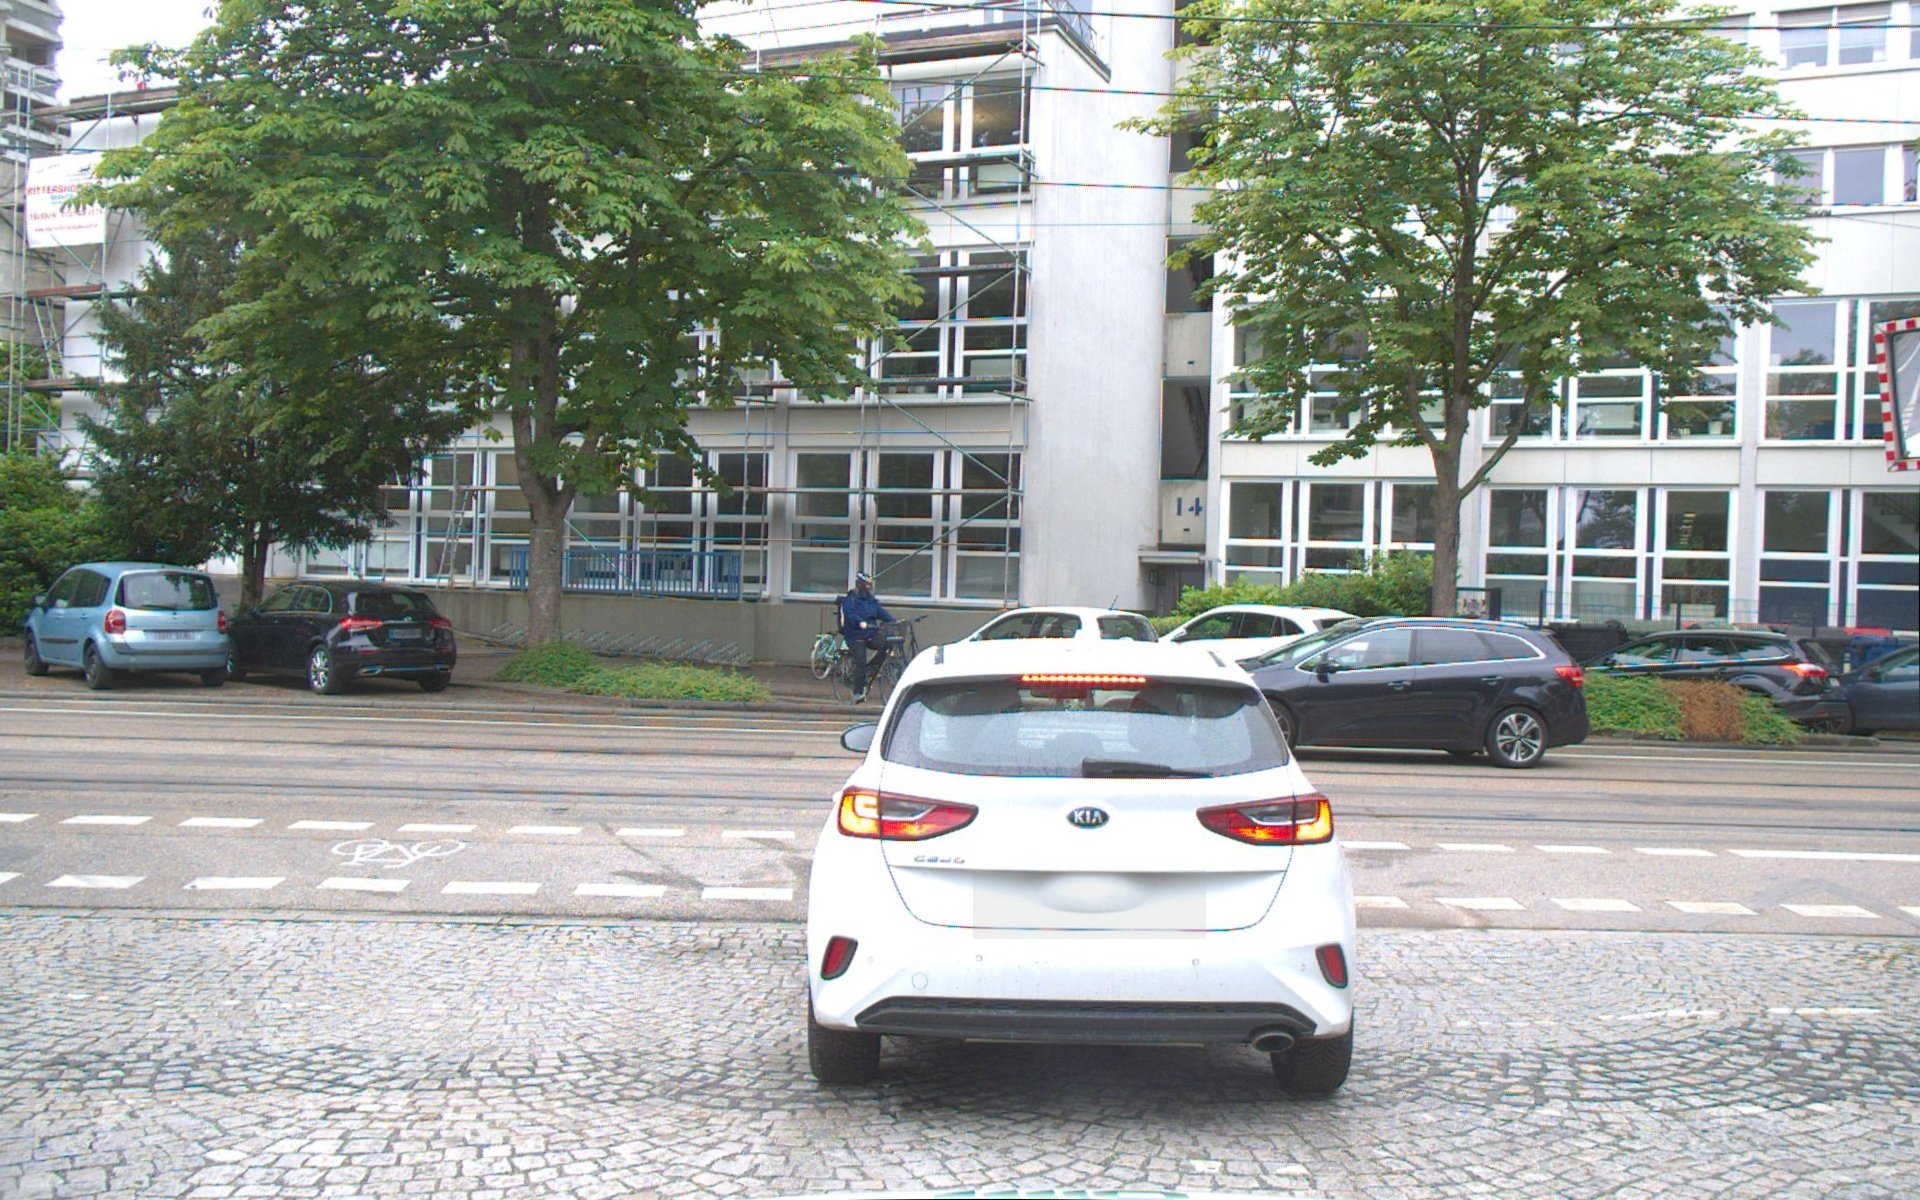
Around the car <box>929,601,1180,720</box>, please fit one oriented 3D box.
[{"bbox_3d":[1.276,0.792,23.195,1.545,1.499,3.352,1,0,-44],"label":"car"}]

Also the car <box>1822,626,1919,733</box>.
[{"bbox_3d":[14.404,1.158,23.764,3.332,1.499,1.407,1,0,43],"label":"car"}]

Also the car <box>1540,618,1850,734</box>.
[{"bbox_3d":[10.763,1.060,24.349,3.881,1.499,1.665,1,0,40],"label":"car"}]

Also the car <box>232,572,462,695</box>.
[{"bbox_3d":[-8.324,0.412,22.356,3.279,1.537,1.608,1,0,43],"label":"car"}]

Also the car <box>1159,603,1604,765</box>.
[{"bbox_3d":[4.331,0.846,17.382,4.157,1.516,1.822,2,0,-4],"label":"car"}]

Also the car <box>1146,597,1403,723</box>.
[{"bbox_3d":[4.450,0.804,23.663,1.545,1.646,3.352,1,0,-44],"label":"car"}]

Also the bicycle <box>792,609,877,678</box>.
[{"bbox_3d":[-2.231,0.759,29.639,0.631,1.093,2.313,2,2,19],"label":"bicycle"}]

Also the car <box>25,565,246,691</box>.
[{"bbox_3d":[-11.146,0.334,22.278,3.279,1.564,1.608,1,0,43],"label":"car"}]

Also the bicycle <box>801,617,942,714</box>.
[{"bbox_3d":[-1.205,0.854,22.209,1.883,1.194,0.816,2,0,44],"label":"bicycle"}]

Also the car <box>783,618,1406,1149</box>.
[{"bbox_3d":[0.464,0.869,6.657,1.738,1.458,3.979,1,-2,2],"label":"car"}]

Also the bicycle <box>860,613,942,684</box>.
[{"bbox_3d":[-1.015,0.822,29.169,0.631,1.093,2.313,2,2,19],"label":"bicycle"}]

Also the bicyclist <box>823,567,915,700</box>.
[{"bbox_3d":[-1.224,0.439,22.253,0.882,1.727,0.828,2,0,45],"label":"bicyclist"}]
